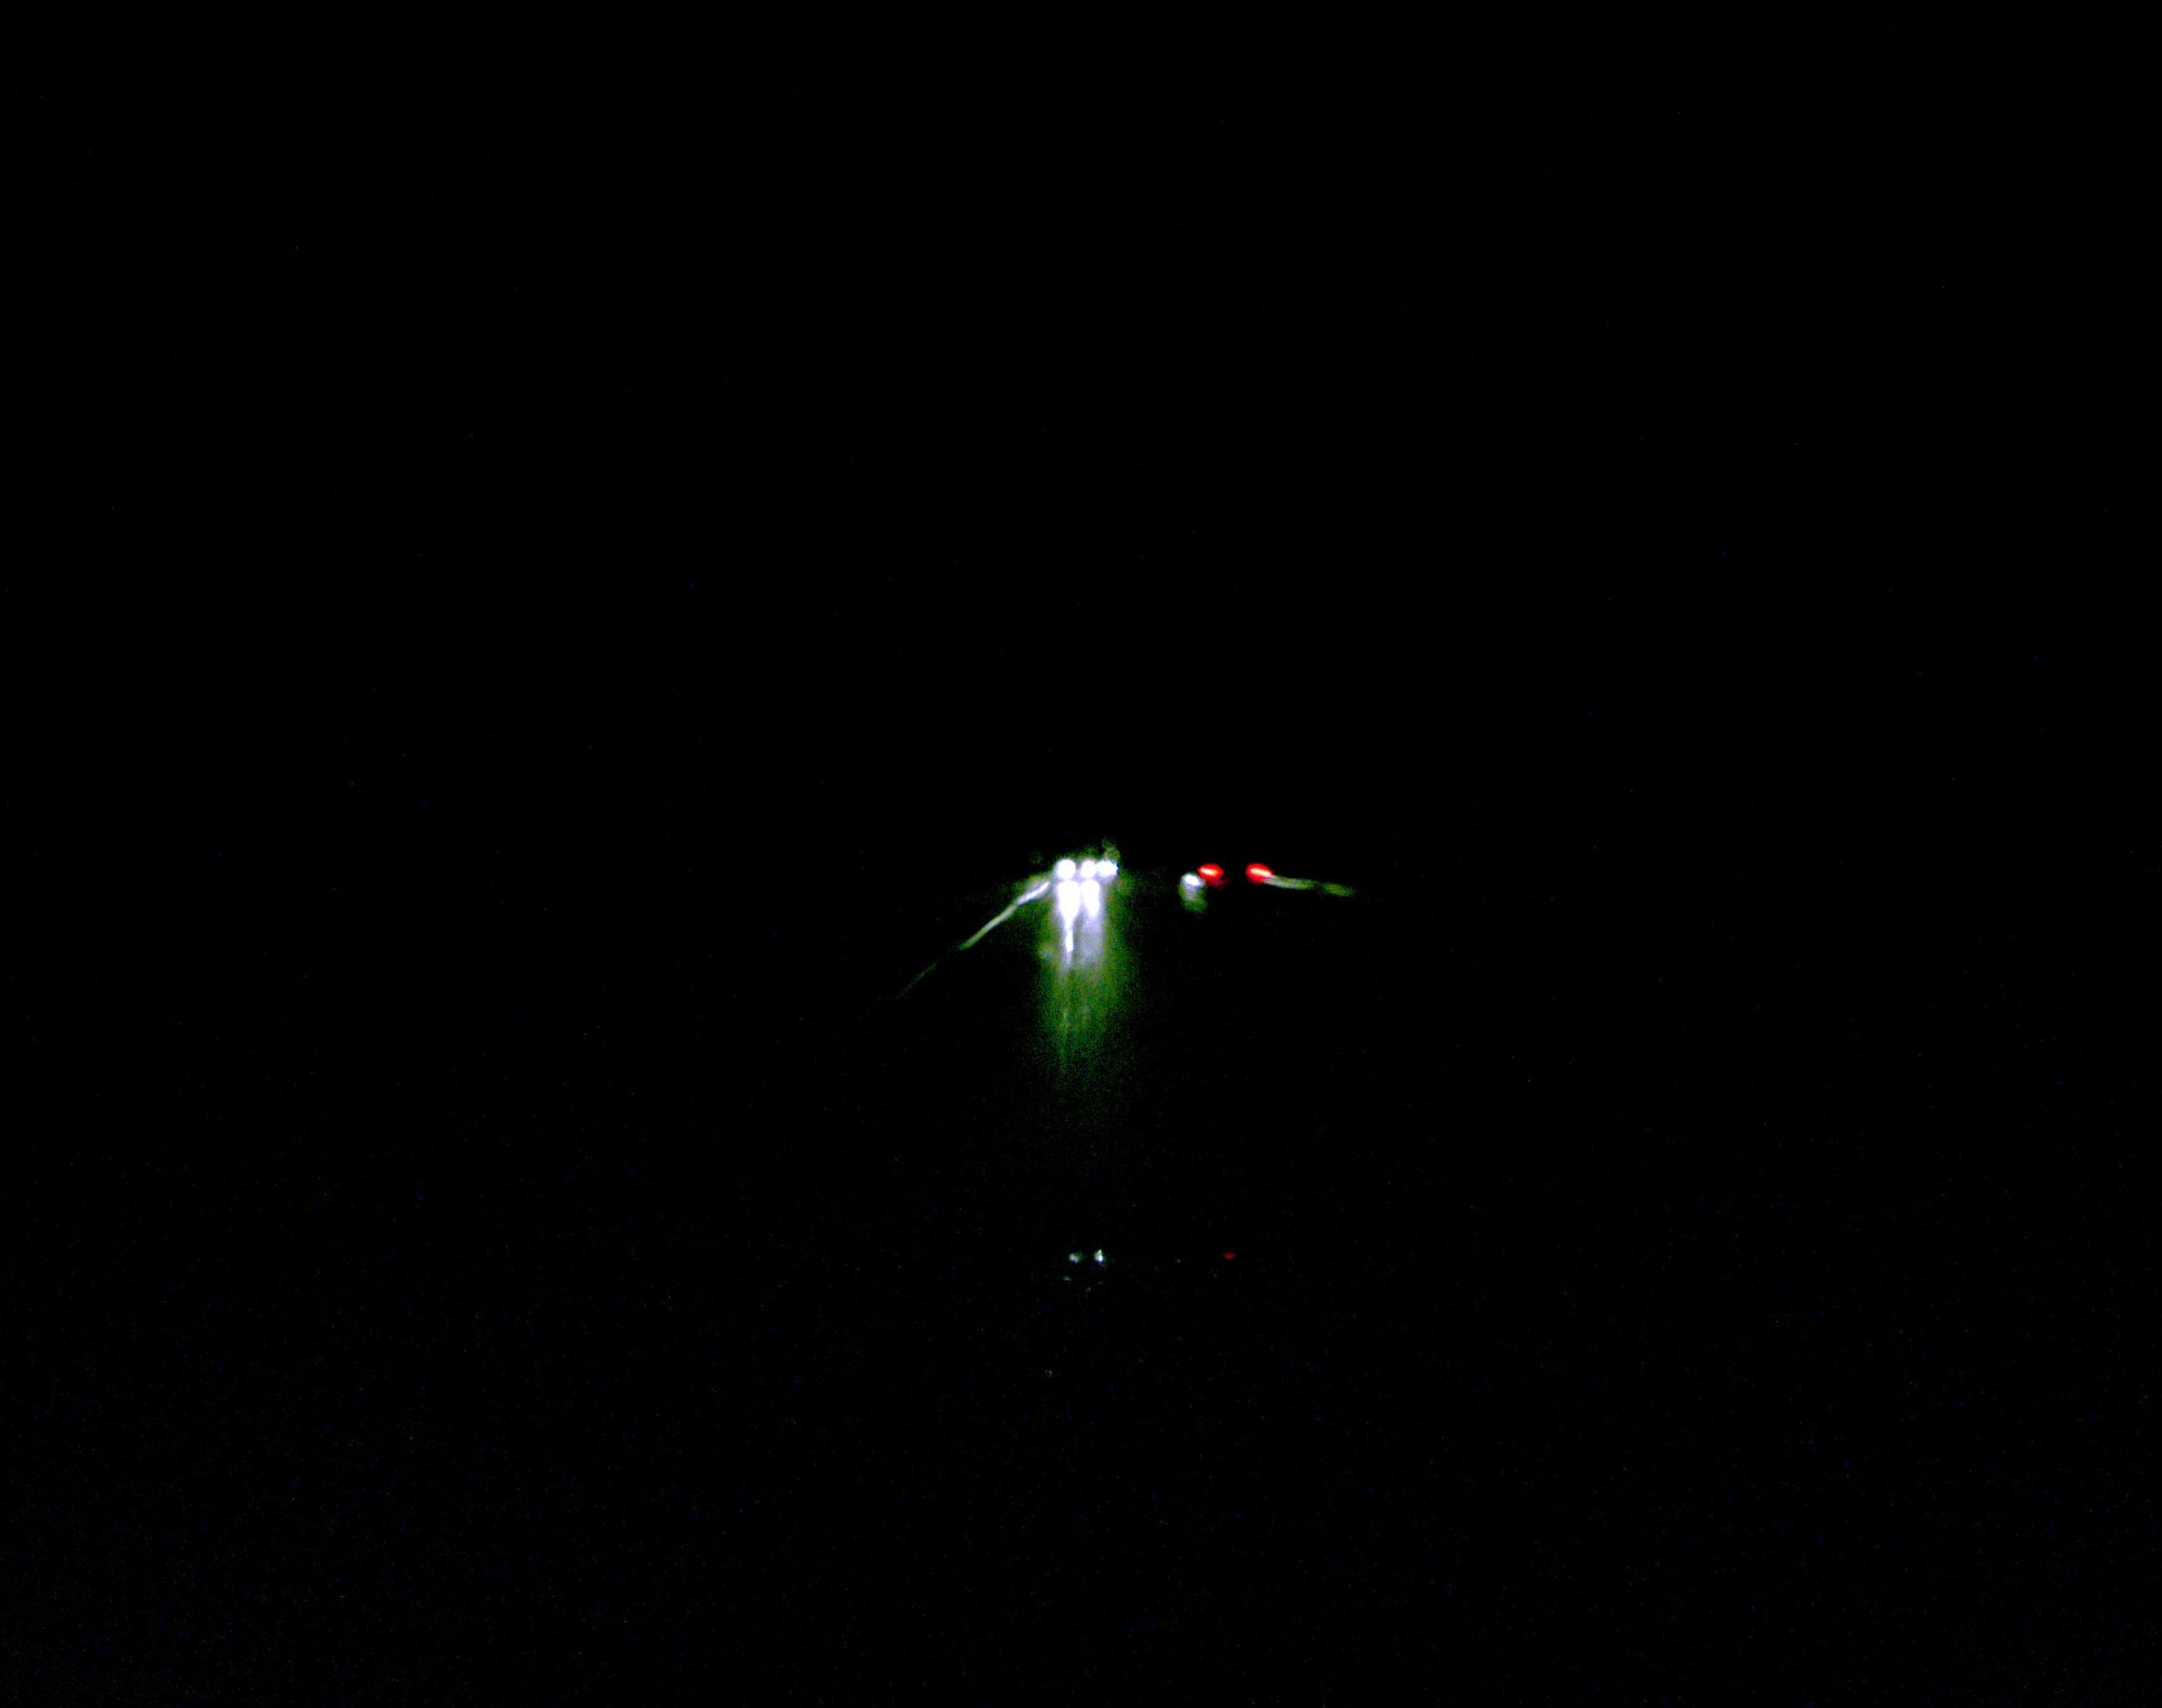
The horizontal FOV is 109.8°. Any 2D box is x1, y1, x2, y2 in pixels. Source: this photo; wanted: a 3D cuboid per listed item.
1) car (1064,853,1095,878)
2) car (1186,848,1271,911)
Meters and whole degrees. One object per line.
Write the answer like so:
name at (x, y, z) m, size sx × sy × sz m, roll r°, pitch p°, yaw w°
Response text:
car at (-0.048, 0.804, 50.507) m, size 1.901 × 1.551 × 4.002 m, roll -1°, pitch -2°, yaw 1°
car at (3.982, 0.711, 21.079) m, size 1.638 × 1.571 × 3.745 m, roll -1°, pitch -2°, yaw 1°
